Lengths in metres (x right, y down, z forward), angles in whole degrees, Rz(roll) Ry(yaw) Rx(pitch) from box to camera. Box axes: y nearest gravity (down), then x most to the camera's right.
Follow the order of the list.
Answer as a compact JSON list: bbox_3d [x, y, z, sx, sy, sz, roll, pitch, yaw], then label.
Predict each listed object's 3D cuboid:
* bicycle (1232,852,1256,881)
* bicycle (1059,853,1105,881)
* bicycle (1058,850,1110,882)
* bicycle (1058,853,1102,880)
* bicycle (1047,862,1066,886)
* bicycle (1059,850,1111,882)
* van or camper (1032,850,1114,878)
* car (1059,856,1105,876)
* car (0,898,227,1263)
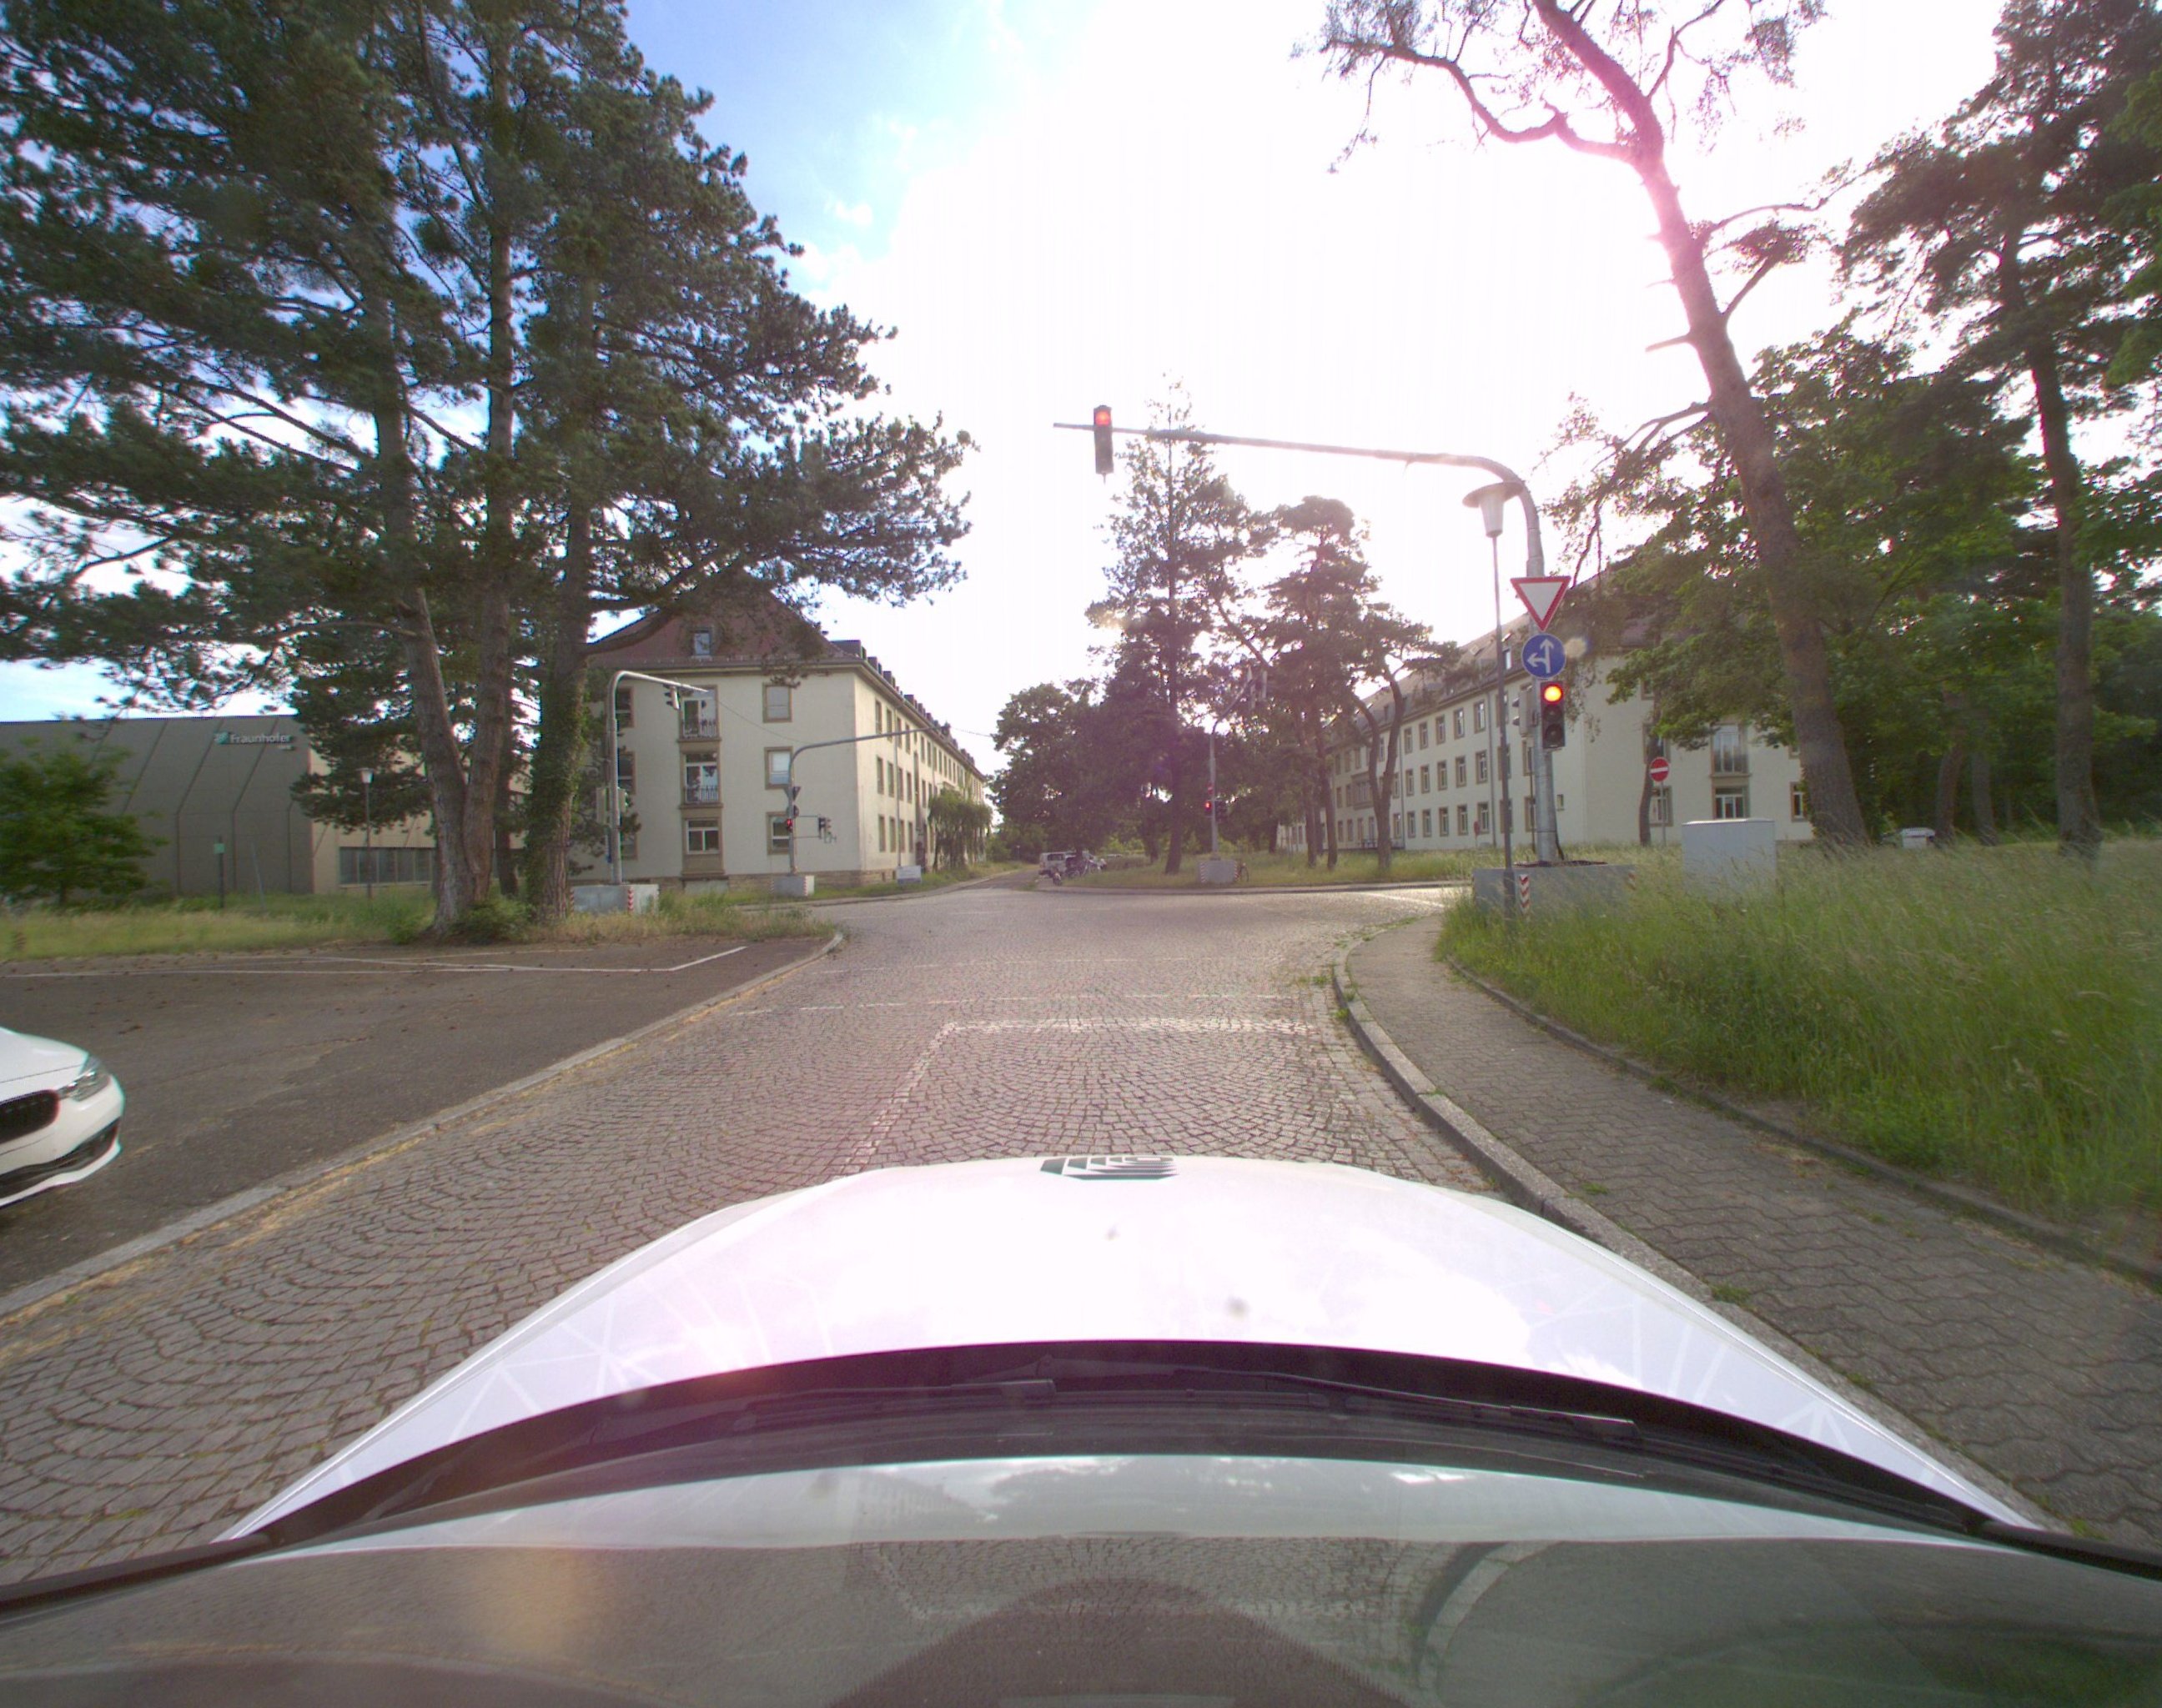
[{"bbox_3d":[6.720,0.507,33.681,0.720,1.169,2.741,0,0,5],"label":"bicycle"},{"bbox_3d":[0.049,0.807,50.051,2.764,1.694,1.121,0,-1,2],"label":"bicycle"},{"bbox_3d":[0.158,0.696,46.489,2.774,1.694,1.117,-2,0,-9],"label":"bicycle"},{"bbox_3d":[-0.056,0.801,51.386,2.766,1.694,1.120,0,-1,0],"label":"bicycle"},{"bbox_3d":[-1.211,0.993,40.976,0.723,1.107,2.462,-6,0,0],"label":"bicycle"},{"bbox_3d":[0.201,0.664,45.297,2.773,1.694,1.117,-2,0,-7],"label":"bicycle"},{"bbox_3d":[-0.621,0.763,63.242,6.043,1.948,1.990,-2,0,-15],"label":"van or camper"},{"bbox_3d":[0.067,0.847,59.683,3.135,1.354,1.616,-2,0,-7],"label":"car"},{"bbox_3d":[-6.631,0.939,3.139,4.470,1.442,1.827,0,0,-5],"label":"car"}]
